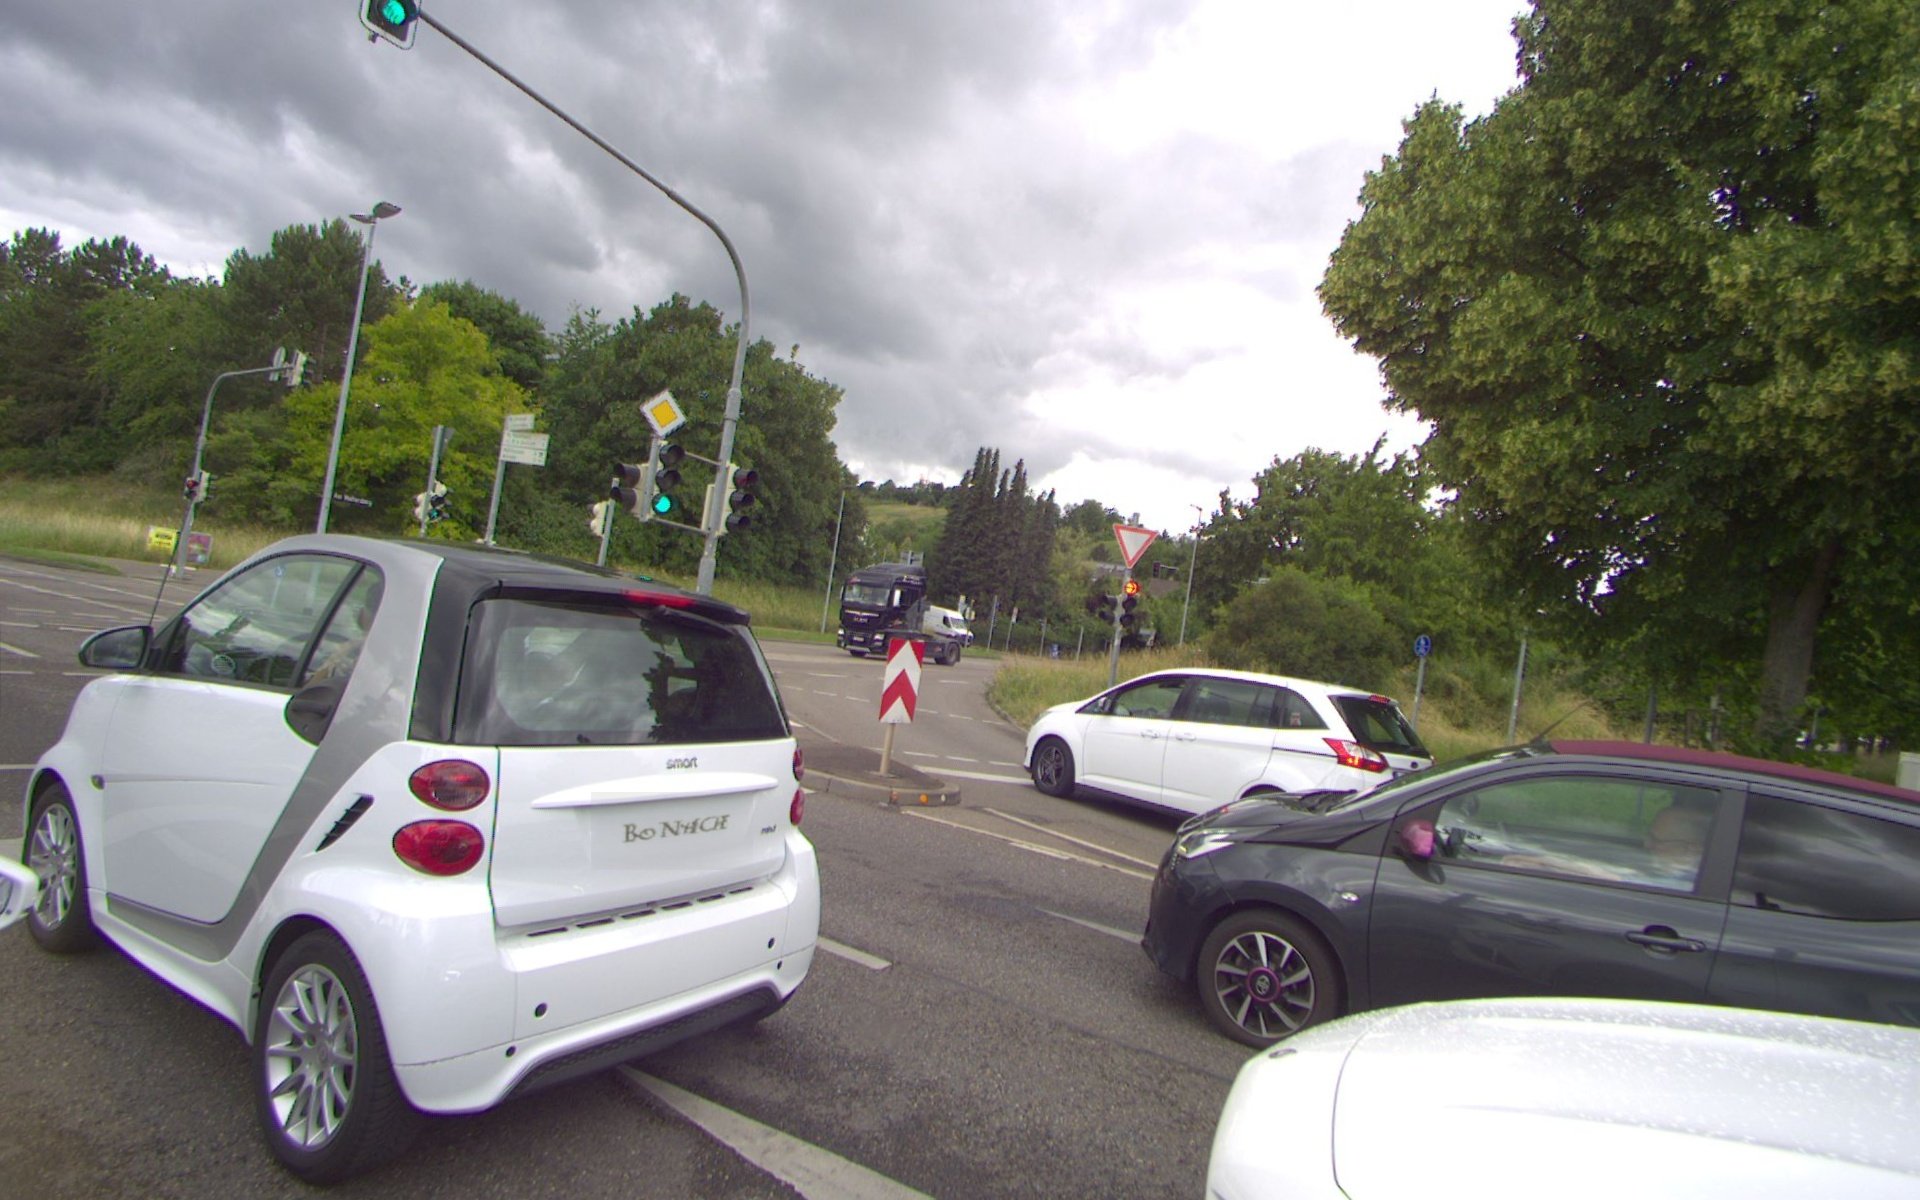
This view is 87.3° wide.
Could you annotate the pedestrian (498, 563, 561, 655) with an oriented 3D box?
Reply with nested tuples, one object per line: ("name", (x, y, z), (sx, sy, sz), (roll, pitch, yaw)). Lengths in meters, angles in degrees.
("pedestrian", (-8.142, 0.165, 19.027), (0.703, 1.630, 0.644), (6, -1, 37))

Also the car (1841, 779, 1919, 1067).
("car", (7.143, 2.062, 5.318), (3.511, 1.524, 1.603), (6, -2, 38))

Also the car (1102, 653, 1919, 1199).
("car", (2.731, 1.215, 4.097), (3.816, 1.470, 1.616), (6, -2, 30))

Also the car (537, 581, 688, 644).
("car", (-10.132, 0.400, 29.620), (1.669, 1.353, 3.882), (6, -2, 34))

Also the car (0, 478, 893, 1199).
("car", (-1.882, 0.523, 3.567), (2.721, 1.533, 1.595), (6, -2, 33))

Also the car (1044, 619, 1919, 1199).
("car", (2.455, 1.075, 0.893), (4.456, 1.524, 1.848), (6, -2, 32))

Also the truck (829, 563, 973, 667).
("truck", (-2.286, 0.721, 41.305), (2.646, 3.526, 6.010), (6, -2, 31))

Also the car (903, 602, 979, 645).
("car", (-1.512, 1.840, 78.195), (5.742, 2.661, 1.992), (6, -2, 40))

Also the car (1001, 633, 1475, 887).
("car", (2.565, 1.459, 10.275), (1.752, 1.673, 4.325), (10, -3, -37))

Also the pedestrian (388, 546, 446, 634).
("pedestrian", (-11.023, -0.200, 20.427), (0.703, 1.681, 0.644), (6, -1, 38))
